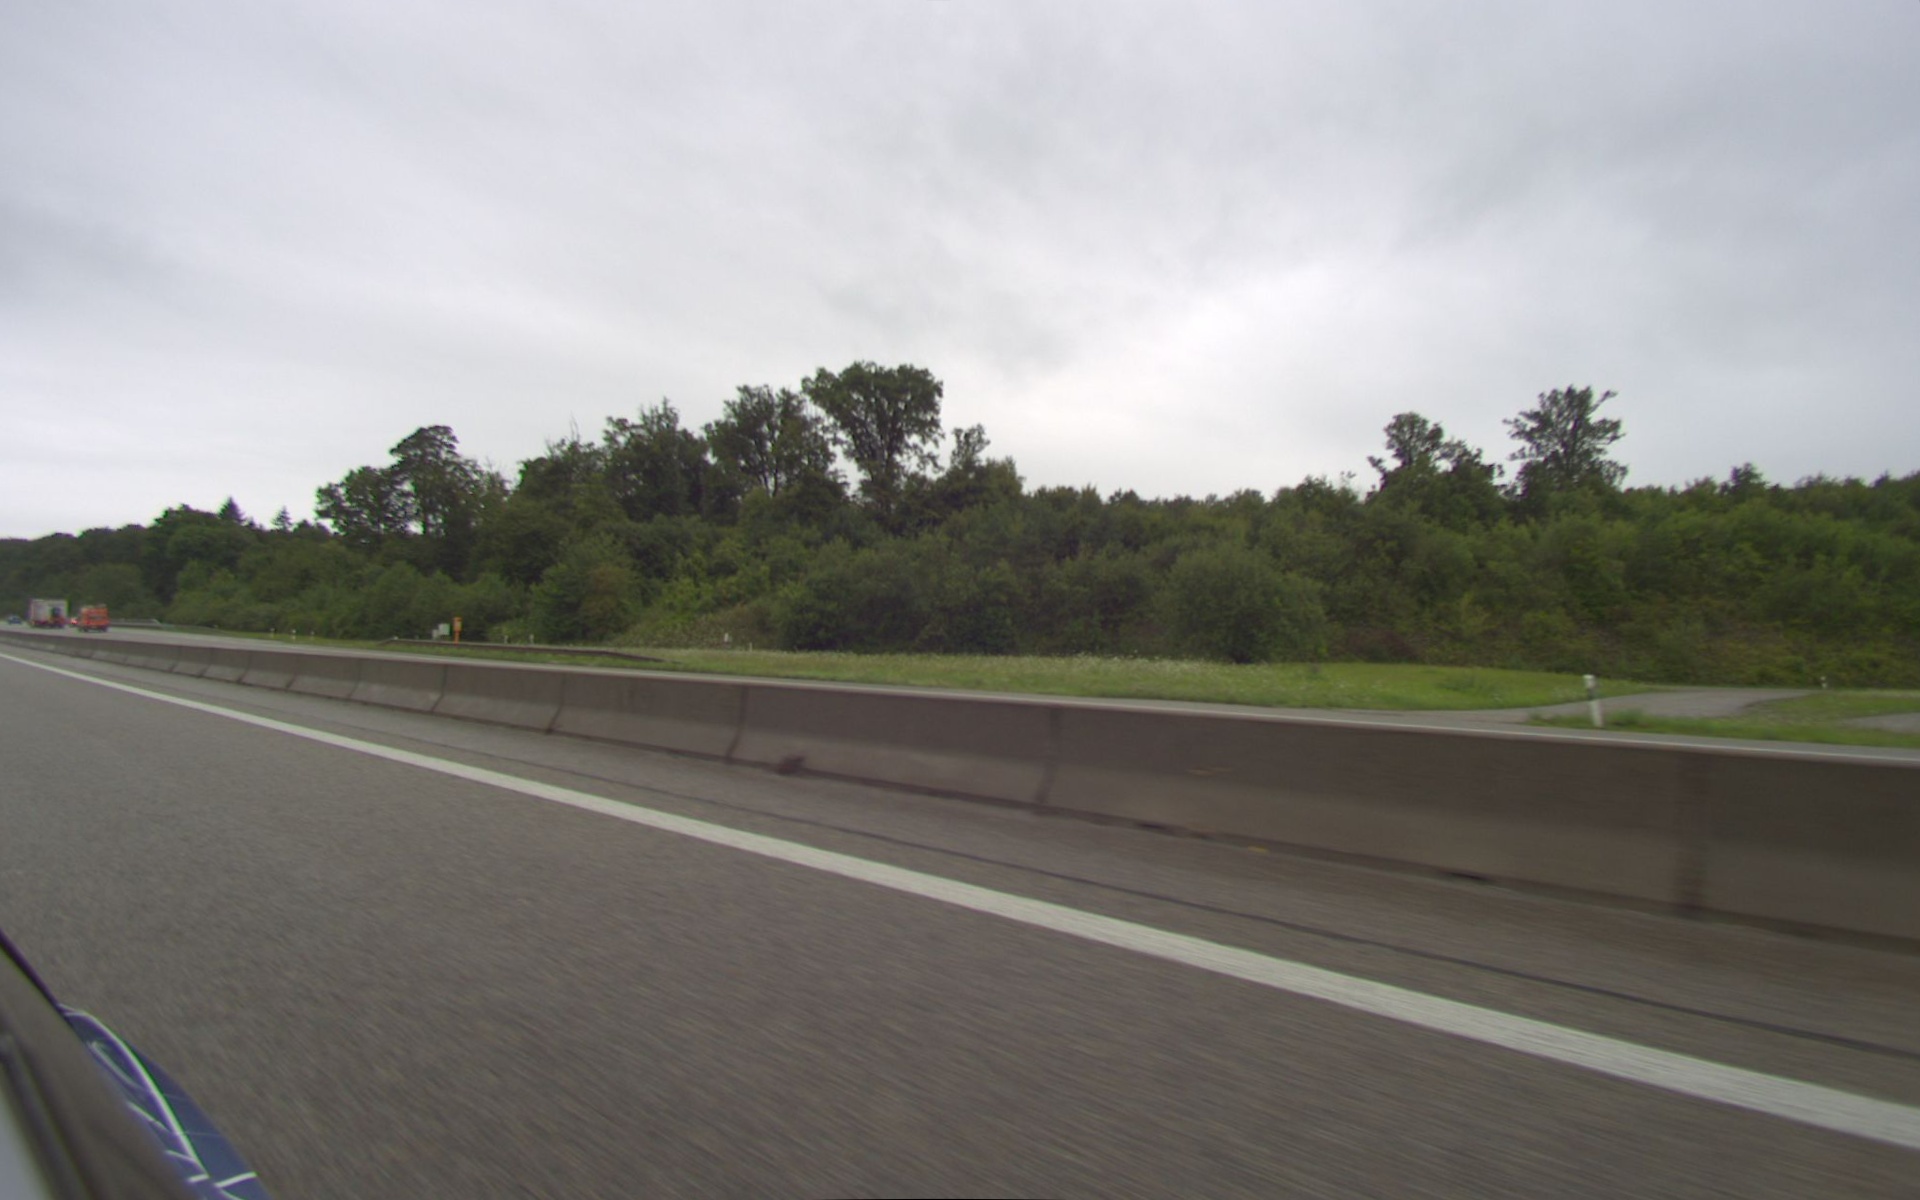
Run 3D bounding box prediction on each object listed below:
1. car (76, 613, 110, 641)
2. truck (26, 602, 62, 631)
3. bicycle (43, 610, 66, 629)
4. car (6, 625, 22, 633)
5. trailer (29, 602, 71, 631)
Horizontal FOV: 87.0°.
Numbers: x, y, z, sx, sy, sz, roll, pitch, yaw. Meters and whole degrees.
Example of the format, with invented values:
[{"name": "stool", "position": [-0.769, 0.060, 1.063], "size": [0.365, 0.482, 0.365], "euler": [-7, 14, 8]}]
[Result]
[{"name": "car", "position": [-98.002, 2.979, 114.348], "size": [5.974, 3.066, 2.157], "euler": [-1, -1, 42]}, {"name": "truck", "position": [-134.331, 2.420, 148.405], "size": [6.465, 4.059, 3.312], "euler": [-1, -1, 43]}, {"name": "bicycle", "position": [-124.485, 2.655, 139.128], "size": [1.110, 2.545, 2.170], "euler": [-1, 0, 42]}, {"name": "car", "position": [-171.344, 5.292, 183.385], "size": [3.998, 1.453, 1.693], "euler": [-1, -2, 41]}, {"name": "trailer", "position": [-129.459, 2.362, 143.878], "size": [12.609, 4.048, 3.325], "euler": [-1, -1, 43]}]
